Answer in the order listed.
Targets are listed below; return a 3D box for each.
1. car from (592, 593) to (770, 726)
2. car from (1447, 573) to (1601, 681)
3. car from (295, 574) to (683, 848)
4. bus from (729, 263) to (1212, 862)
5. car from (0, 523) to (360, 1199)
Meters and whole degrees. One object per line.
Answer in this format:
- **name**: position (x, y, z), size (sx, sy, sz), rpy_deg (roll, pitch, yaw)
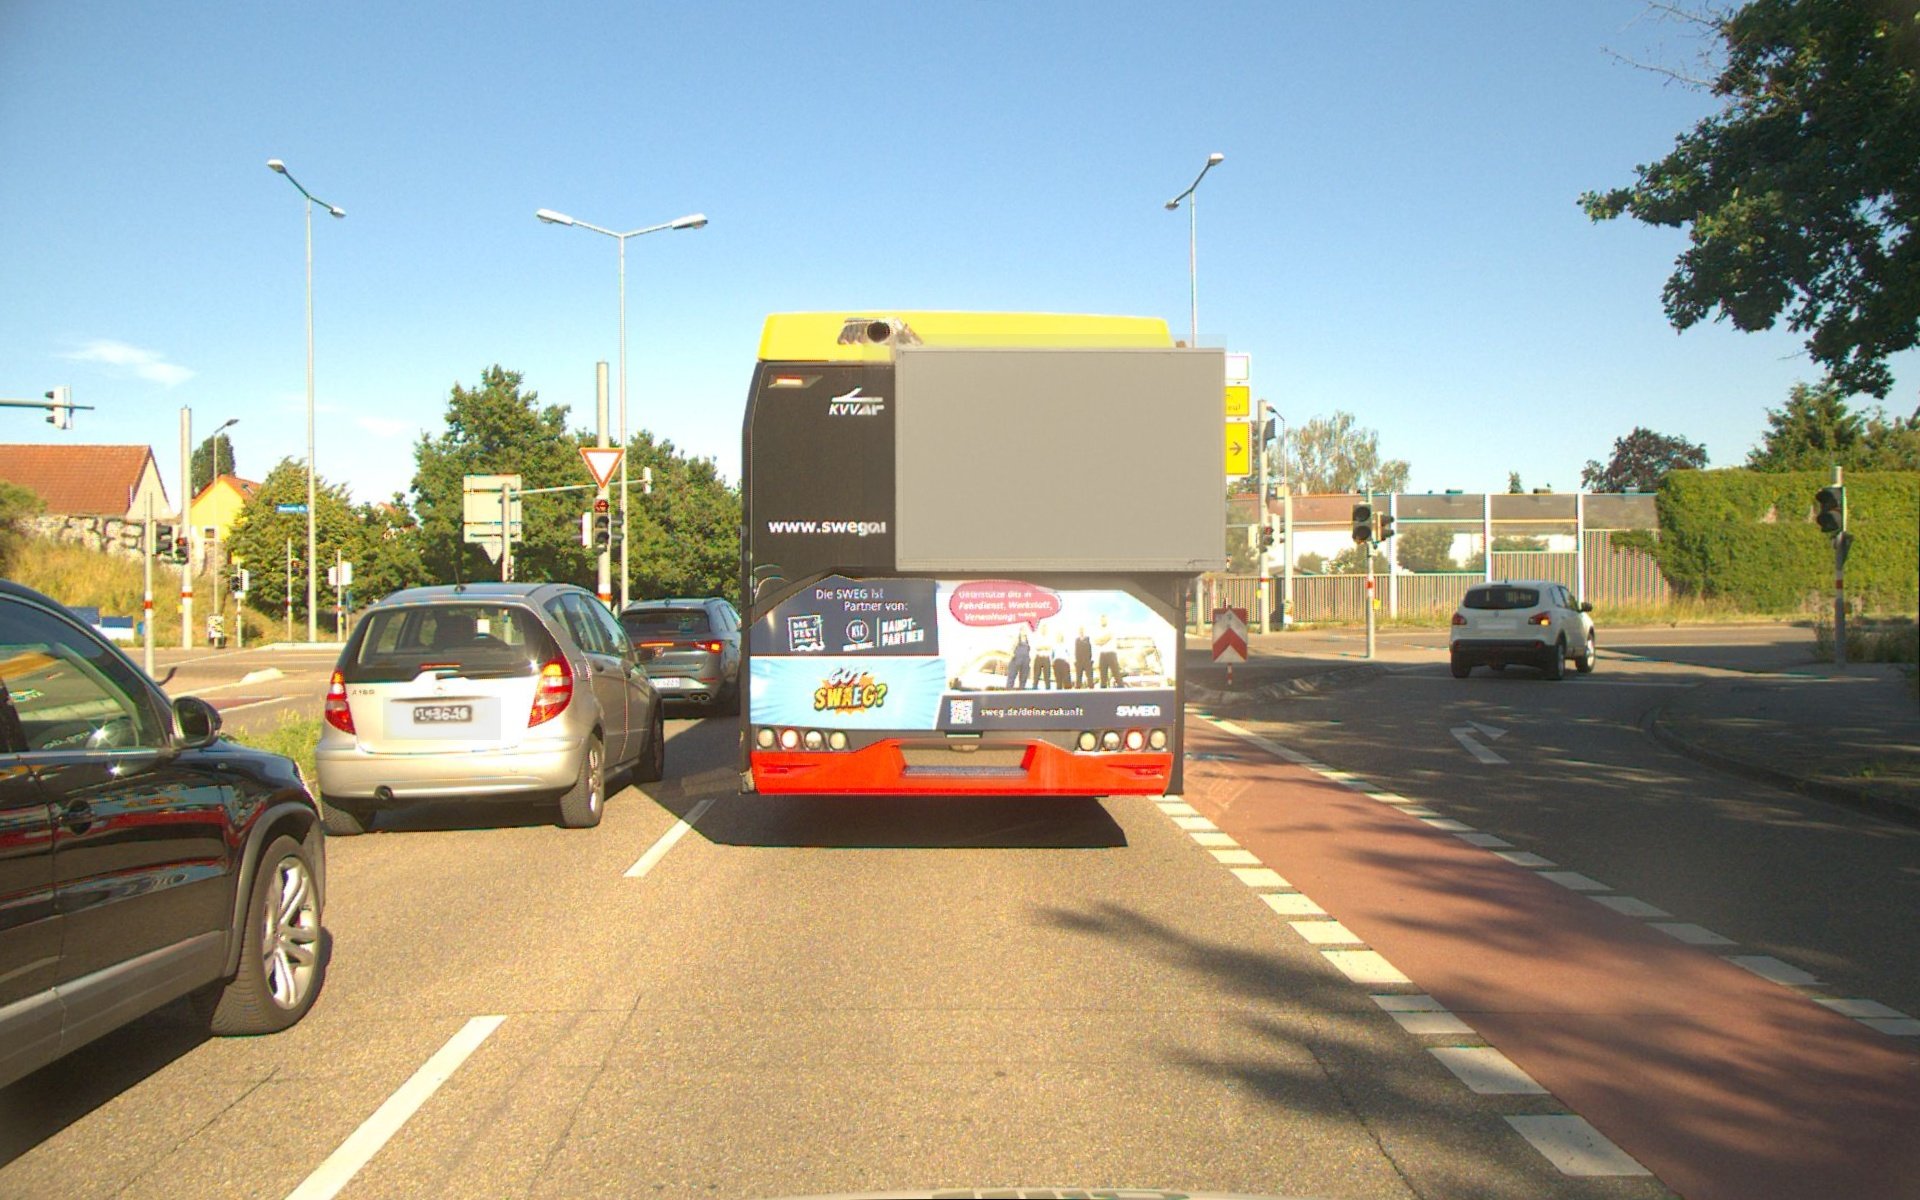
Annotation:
- **car**: position (-3.449, 0.678, 21.052), size (1.658, 1.484, 3.750), rpy_deg (-2, 0, -1)
- **car**: position (9.706, 0.401, 28.279), size (1.686, 1.635, 4.060), rpy_deg (-1, 1, 31)
- **car**: position (-3.216, 0.671, 12.123), size (1.725, 1.617, 3.999), rpy_deg (-2, 0, -1)
- **bus**: position (0.022, -0.253, 14.887), size (2.589, 3.222, 11.860), rpy_deg (0, 0, 0)
- **car**: position (-3.142, 0.687, 4.297), size (1.736, 1.682, 3.999), rpy_deg (-2, 0, -1)
